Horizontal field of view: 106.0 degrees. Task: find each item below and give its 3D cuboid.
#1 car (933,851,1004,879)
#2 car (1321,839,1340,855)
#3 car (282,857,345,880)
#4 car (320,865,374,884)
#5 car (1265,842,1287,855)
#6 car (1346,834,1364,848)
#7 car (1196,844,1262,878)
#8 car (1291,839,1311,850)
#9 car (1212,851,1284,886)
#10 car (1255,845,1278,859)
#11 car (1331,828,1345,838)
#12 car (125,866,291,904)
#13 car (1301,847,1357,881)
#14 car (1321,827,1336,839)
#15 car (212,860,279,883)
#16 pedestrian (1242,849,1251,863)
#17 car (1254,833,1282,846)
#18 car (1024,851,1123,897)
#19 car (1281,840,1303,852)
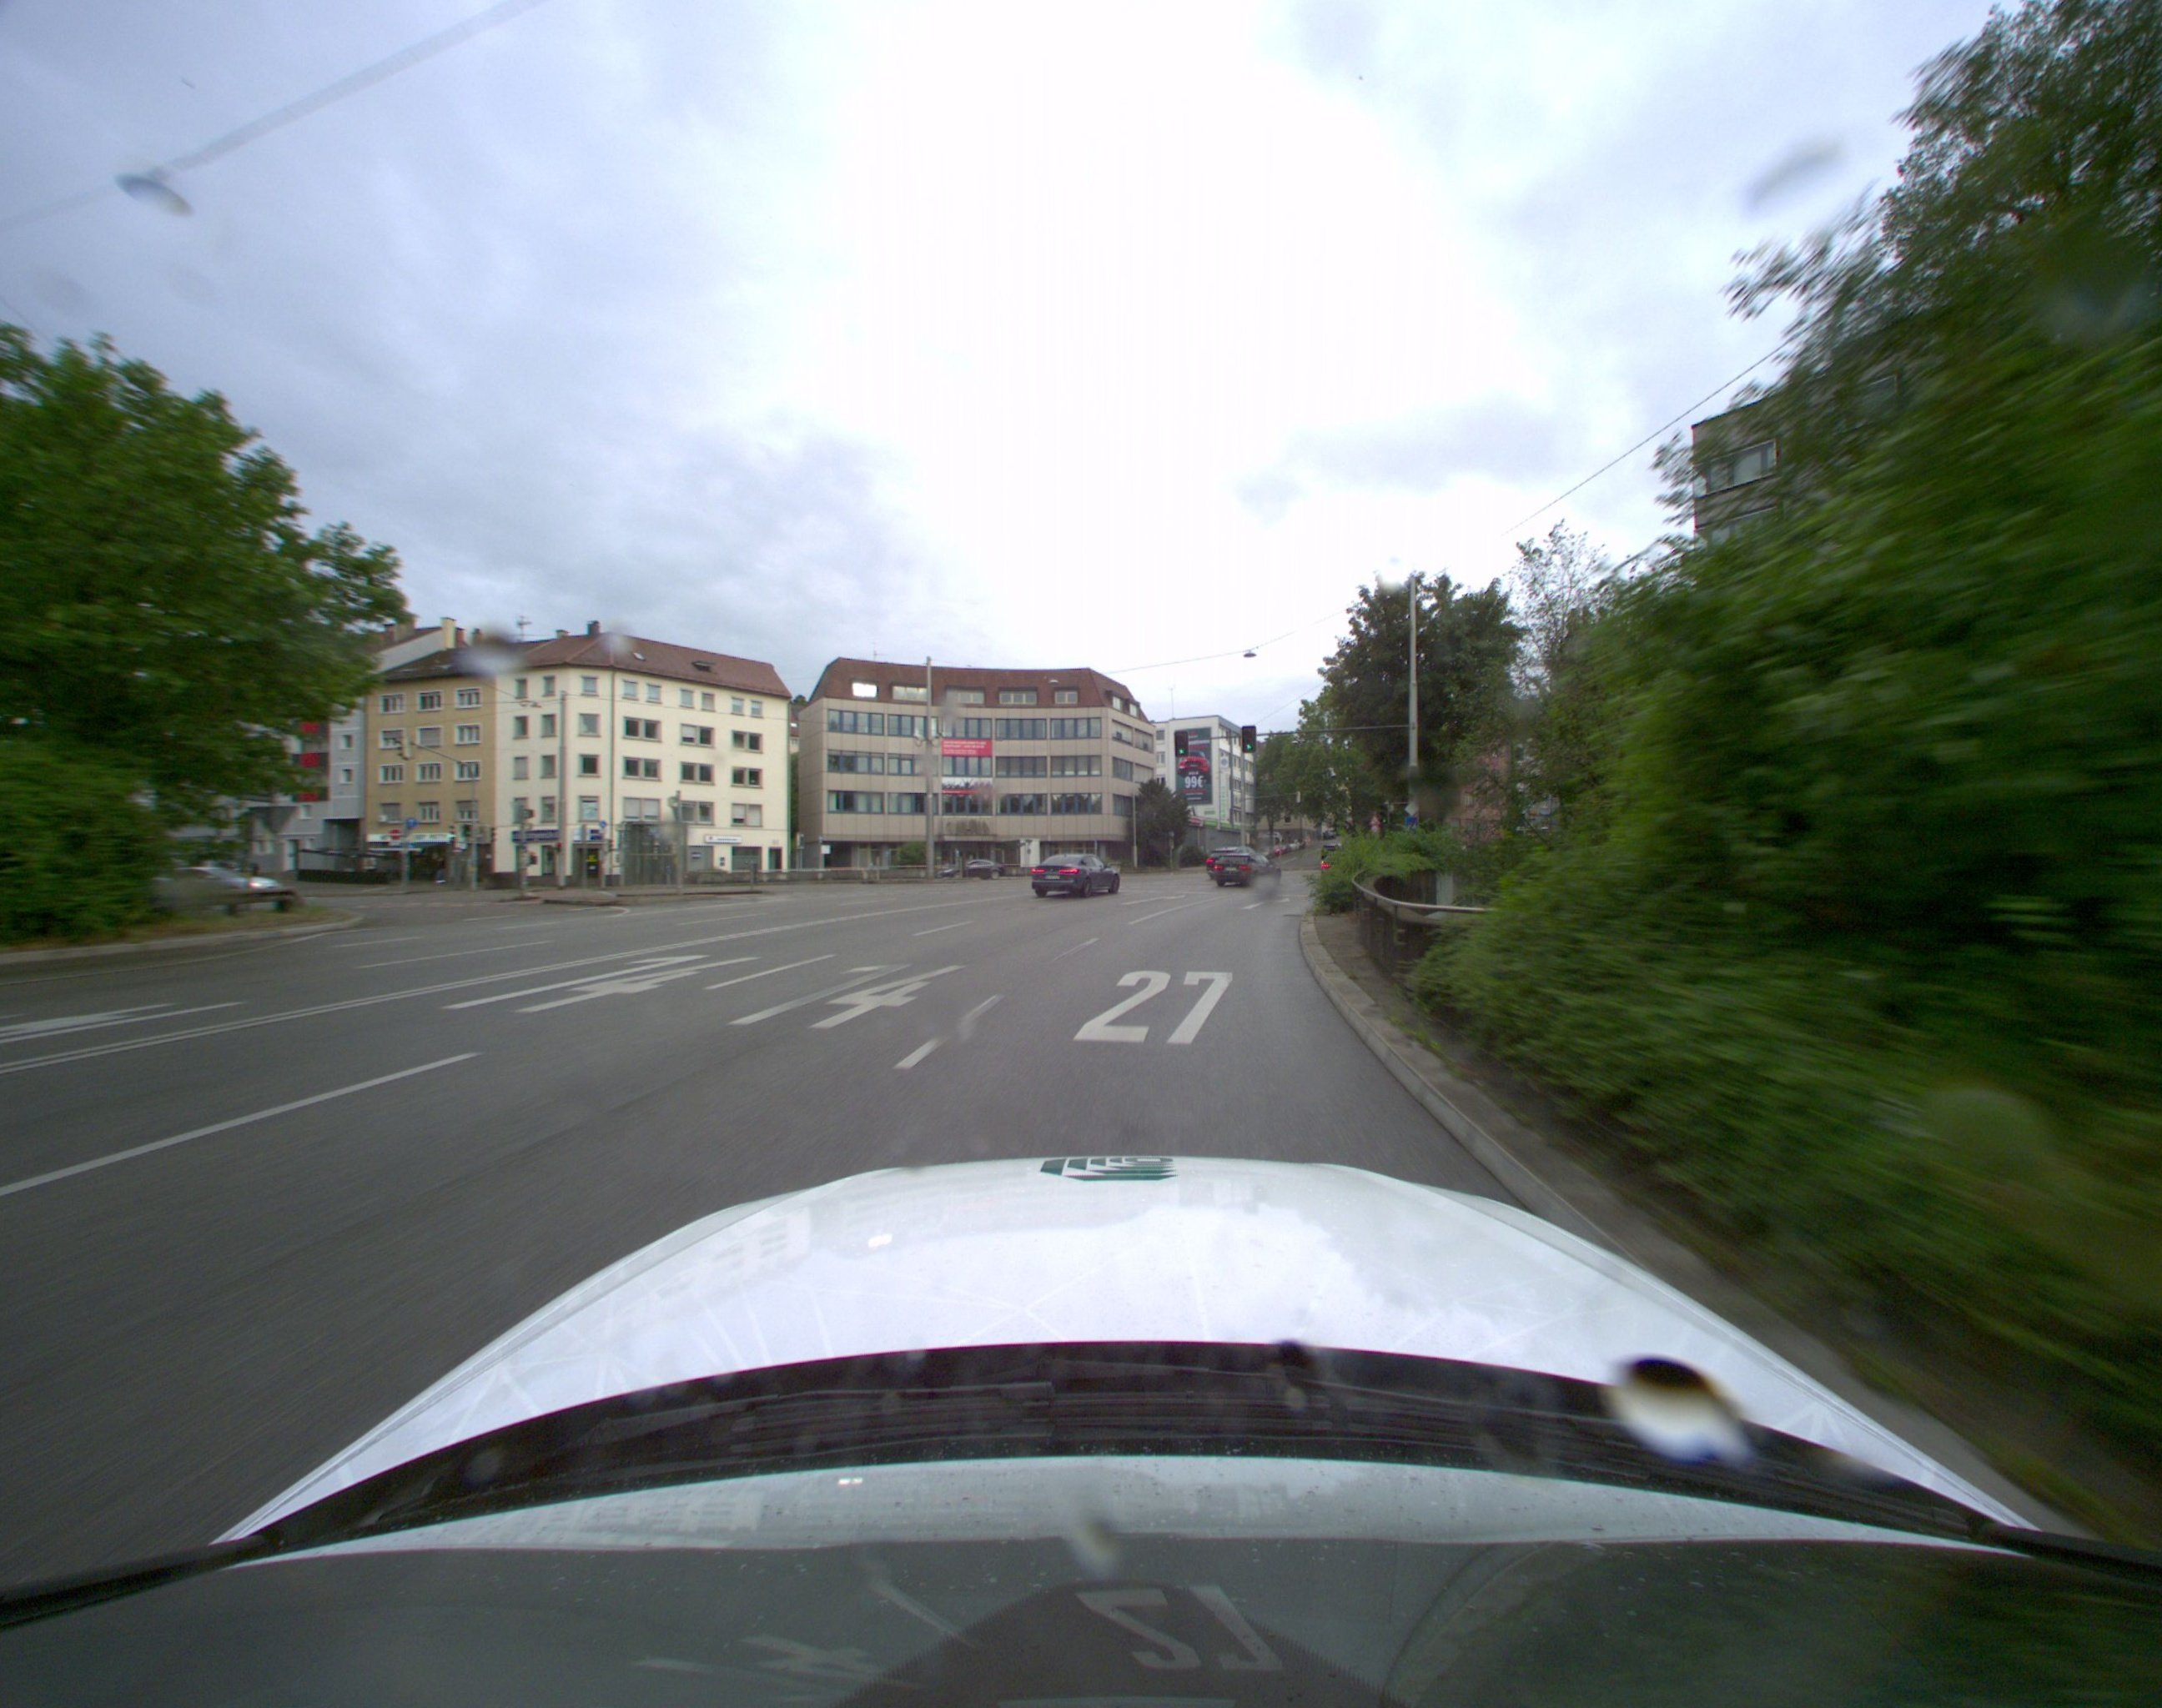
[{"bbox_3d":[-7.761,0.781,56.337,4.451,1.843,1.982,0,-2,-28],"label":"car"},{"bbox_3d":[30.471,-0.862,99.406,1.914,1.868,4.021,0,1,21],"label":"car"},{"bbox_3d":[-56.314,1.076,59.770,3.754,1.591,1.769,-2,-2,18],"label":"car"},{"bbox_3d":[-51.000,1.426,56.597,3.128,1.230,1.411,1,-1,18],"label":"car"},{"bbox_3d":[26.267,-0.748,109.448,1.815,1.430,4.096,-2,3,29],"label":"car"},{"bbox_3d":[40.634,-1.959,120.902,1.913,1.674,4.025,-2,3,27],"label":"car"},{"bbox_3d":[7.758,0.376,42.393,1.881,1.693,4.025,-2,-2,35],"label":"car"},{"bbox_3d":[32.934,-1.462,121.969,1.815,1.430,4.096,-2,3,29],"label":"car"},{"bbox_3d":[7.318,0.571,35.278,1.774,1.426,4.641,0,0,28],"label":"car"},{"bbox_3d":[23.835,-0.289,104.581,1.815,1.463,4.203,-2,3,27],"label":"car"},{"bbox_3d":[49.821,-4.078,157.652,1.975,1.842,4.024,-2,3,25],"label":"car"},{"bbox_3d":[-35.887,1.253,33.606,4.221,1.451,1.990,-1,-1,-15],"label":"car"},{"bbox_3d":[11.325,0.476,37.072,1.941,1.427,4.148,-2,-1,23],"label":"car"},{"bbox_3d":[44.137,-3.693,145.027,1.975,2.014,4.023,-2,-2,25],"label":"car"},{"bbox_3d":[-62.605,1.319,61.039,3.954,1.591,1.927,-2,-2,18],"label":"car"},{"bbox_3d":[21.416,0.260,105.163,0.831,1.718,0.987,-2,-2,26],"label":"pedestrian"},{"bbox_3d":[31.819,-2.524,138.672,4.378,2.006,2.010,-2,-2,22],"label":"car"},{"bbox_3d":[-0.160,0.663,27.885,1.775,1.427,4.408,-2,-1,23],"label":"car"},{"bbox_3d":[30.551,-1.227,117.756,1.815,1.430,4.097,-2,3,32],"label":"car"}]
